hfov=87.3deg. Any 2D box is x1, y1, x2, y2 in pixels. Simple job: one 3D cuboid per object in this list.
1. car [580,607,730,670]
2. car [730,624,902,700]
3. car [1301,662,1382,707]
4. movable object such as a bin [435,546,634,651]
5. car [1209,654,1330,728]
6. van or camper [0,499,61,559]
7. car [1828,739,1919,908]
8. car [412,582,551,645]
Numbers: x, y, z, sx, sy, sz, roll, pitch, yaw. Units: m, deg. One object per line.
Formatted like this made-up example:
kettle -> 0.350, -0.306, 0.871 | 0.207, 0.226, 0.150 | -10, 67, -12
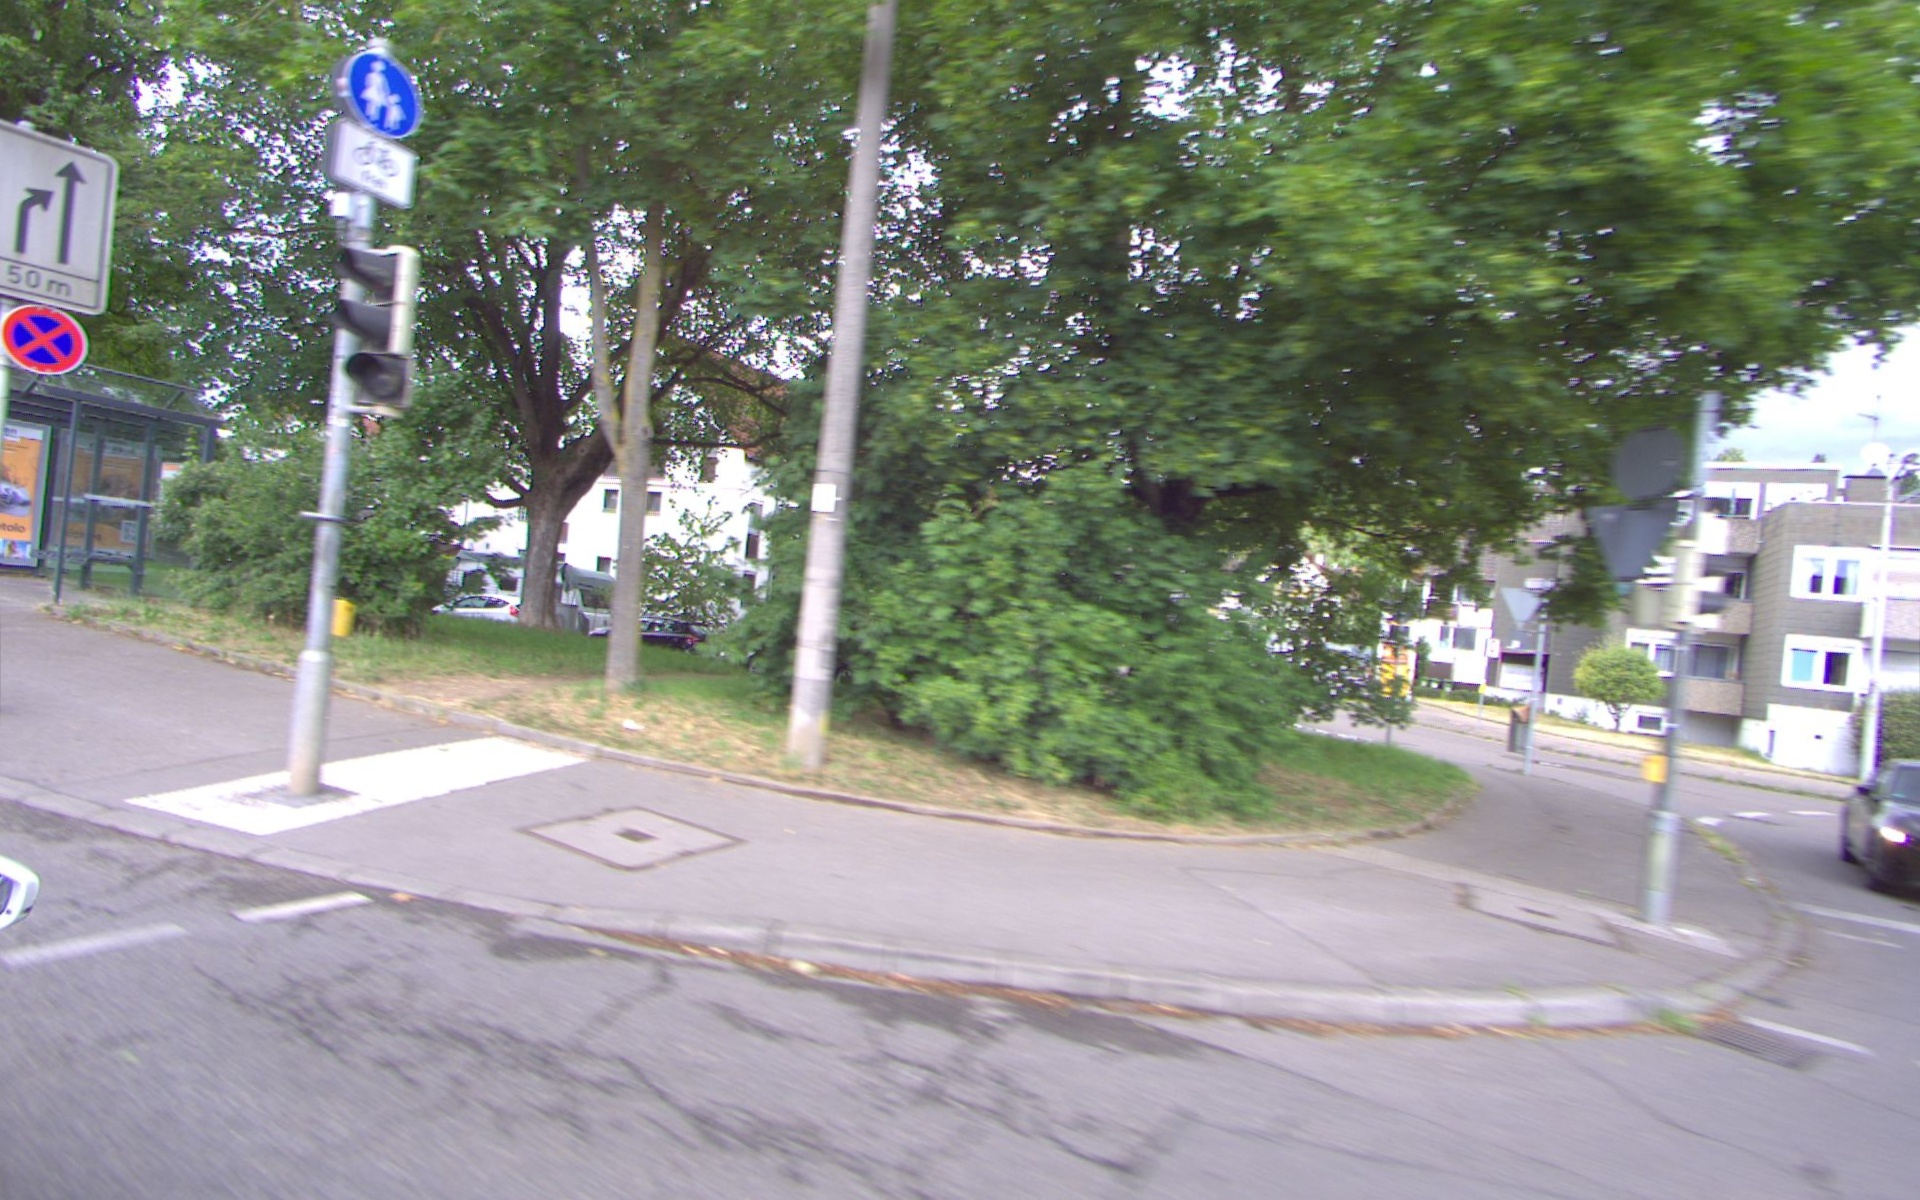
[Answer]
car -> -8.804, 1.117, 29.093 | 3.785, 1.260, 1.629 | 7, -3, 18
car -> -3.915, 1.694, 27.467 | 4.209, 1.477, 1.667 | 7, -2, 18
car -> 17.111, 3.764, 45.277 | 1.963, 1.536, 4.001 | 8, -1, 0
movable object such as a bin -> -14.181, -0.044, 33.498 | 6.156, 2.653, 2.002 | 7, -2, 20
car -> 9.266, 2.696, 30.499 | 1.965, 1.785, 4.001 | 8, -3, -5
van or camper -> -38.987, -3.062, 40.026 | 5.732, 2.036, 2.187 | 7, -2, 20
car -> 11.375, 2.558, 11.552 | 1.678, 1.544, 4.152 | 6, -1, 37
car -> -14.836, 0.415, 31.215 | 3.768, 1.401, 1.485 | 7, -2, 18
